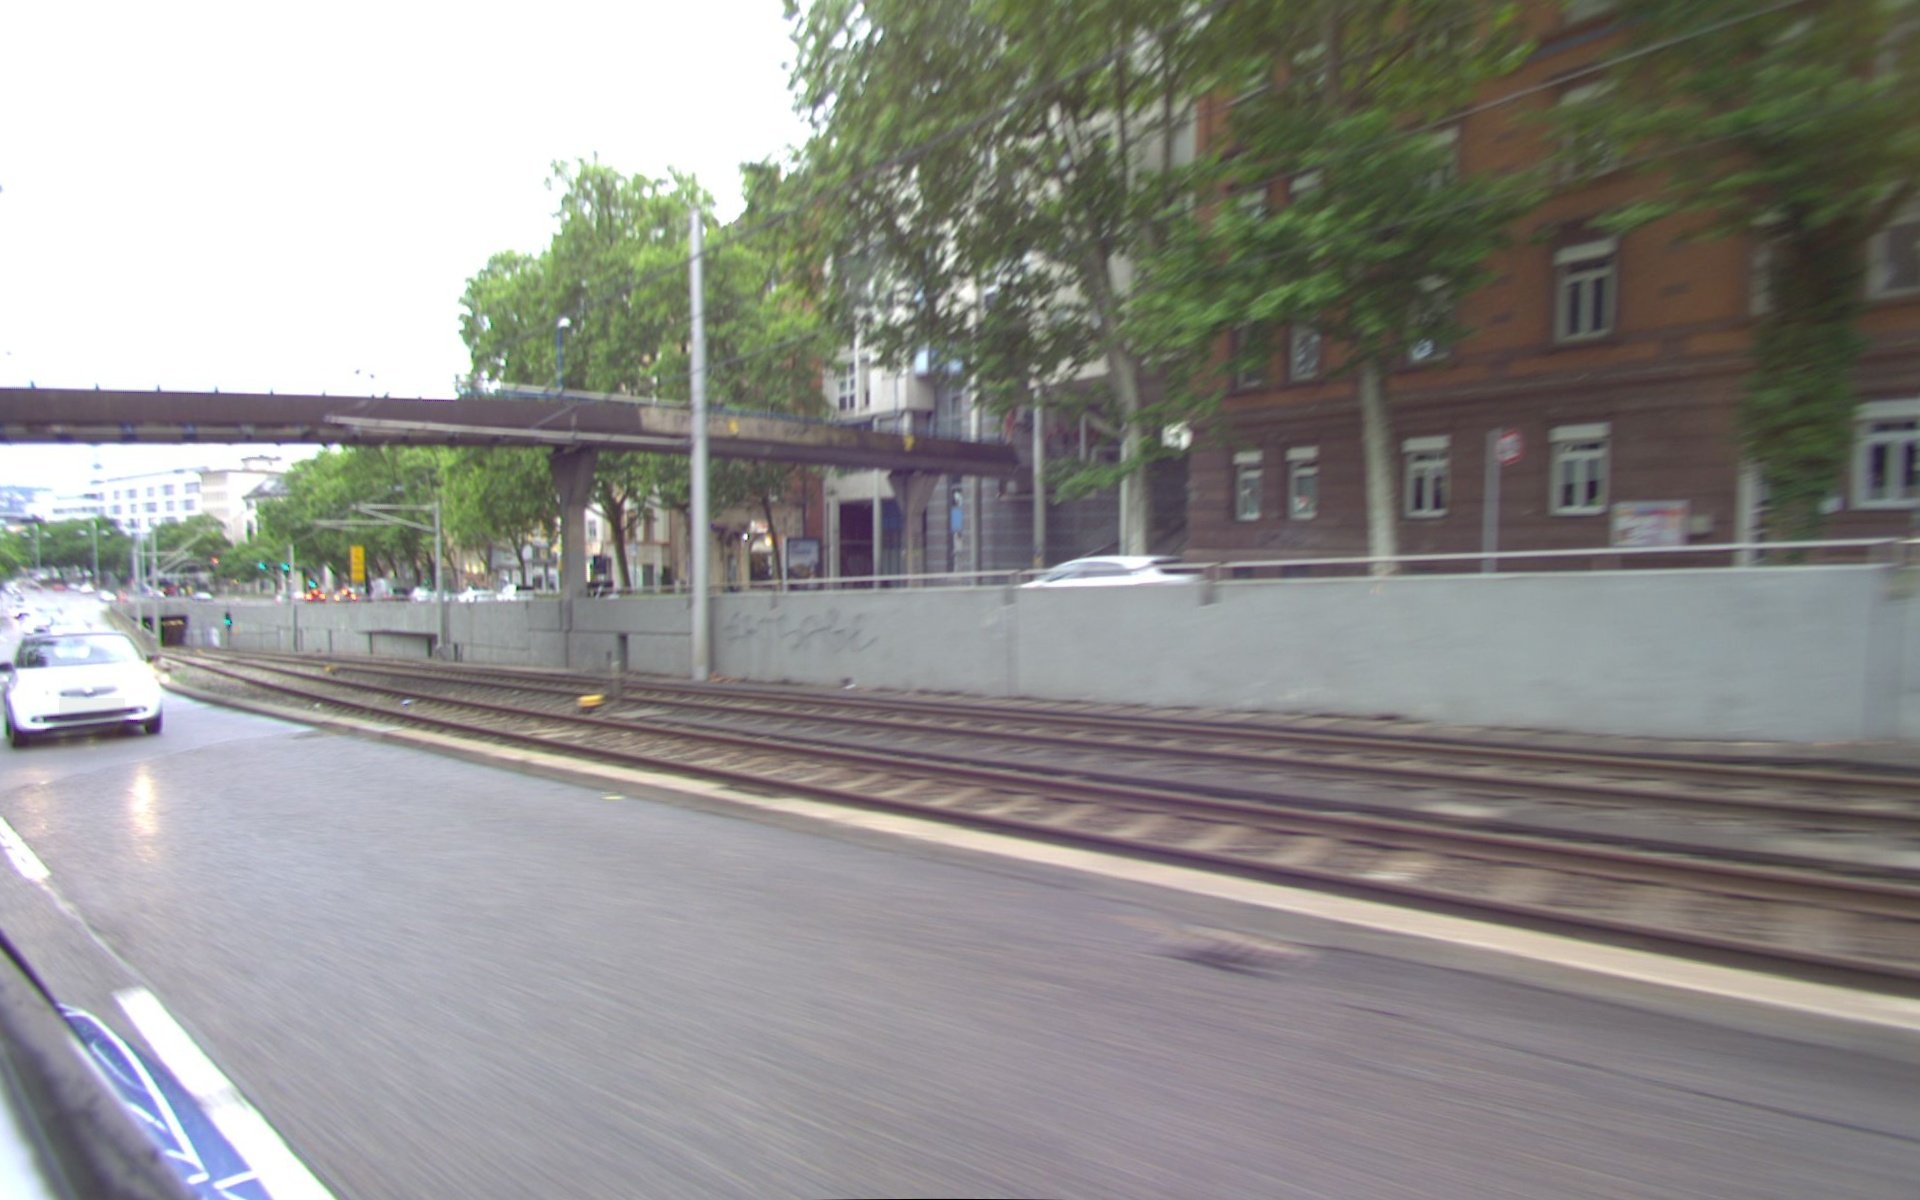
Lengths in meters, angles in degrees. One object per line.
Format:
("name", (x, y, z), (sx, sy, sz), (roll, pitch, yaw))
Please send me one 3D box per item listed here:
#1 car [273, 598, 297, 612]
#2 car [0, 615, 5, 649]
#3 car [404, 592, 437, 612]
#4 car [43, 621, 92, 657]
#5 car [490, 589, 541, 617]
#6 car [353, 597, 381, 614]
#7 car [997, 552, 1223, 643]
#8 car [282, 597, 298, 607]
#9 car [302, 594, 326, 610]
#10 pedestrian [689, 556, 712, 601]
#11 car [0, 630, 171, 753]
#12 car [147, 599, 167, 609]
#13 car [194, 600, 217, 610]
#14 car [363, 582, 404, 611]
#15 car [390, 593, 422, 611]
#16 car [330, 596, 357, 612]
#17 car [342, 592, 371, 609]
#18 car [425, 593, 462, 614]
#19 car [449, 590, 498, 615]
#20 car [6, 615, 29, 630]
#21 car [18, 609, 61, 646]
("car", (-80.914, 0.643, 121.265), (1.773, 1.521, 4.006), (-5, 3, -41))
("car", (-52.530, 1.793, 54.174), (1.773, 1.678, 4.006), (-5, 5, -41))
("car", (-47.577, 0.178, 89.236), (1.772, 1.582, 4.216), (-5, 3, -38))
("car", (-46.081, 1.961, 52.297), (1.773, 1.521, 4.006), (-5, 5, -41))
("car", (-27.794, 0.182, 63.248), (1.772, 1.623, 4.119), (-5, 3, -40))
("car", (-65.864, 0.602, 112.283), (1.854, 1.777, 4.910), (-5, 3, -39))
("car", (2.977, -0.064, 20.797), (1.774, 1.623, 4.363), (-5, 3, -44))
("car", (-106.670, 0.275, 161.175), (1.823, 1.521, 4.026), (-5, 3, -37))
("car", (-80.593, 0.220, 126.223), (1.931, 1.866, 4.978), (-5, 3, -38))
("pedestrian", (-12.229, -1.016, 47.656), (0.660, 2.028, 0.937), (-5, 4, -37))
("car", (-13.271, 1.300, 15.173), (4.002, 1.549, 1.774), (-4, -2, 45))
("car", (-146.155, 0.753, 184.211), (4.816, 1.521, 1.829), (-1, 3, 39))
("car", (-125.486, 0.787, 168.268), (4.880, 1.521, 2.006), (-1, 3, 41))
("car", (-58.402, -0.345, 102.504), (2.422, 2.682, 6.944), (-5, 3, -39))
("car", (-52.854, 0.159, 96.526), (1.772, 1.521, 4.680), (-5, 3, -39))
("car", (-63.359, 0.414, 104.032), (1.772, 1.521, 4.116), (-5, 3, -39))
("car", (-71.057, 0.044, 119.156), (1.855, 1.777, 4.906), (-5, 3, -43))
("car", (-41.180, 0.231, 80.642), (1.772, 1.521, 4.216), (-5, 3, -38))
("car", (-34.823, 0.180, 72.360), (1.903, 1.613, 5.208), (-5, 3, -39))
("car", (-109.221, 2.580, 117.298), (1.774, 1.521, 4.003), (-6, 5, -44))
("car", (-57.825, 1.690, 63.642), (1.773, 2.047, 4.006), (-5, 4, -41))
